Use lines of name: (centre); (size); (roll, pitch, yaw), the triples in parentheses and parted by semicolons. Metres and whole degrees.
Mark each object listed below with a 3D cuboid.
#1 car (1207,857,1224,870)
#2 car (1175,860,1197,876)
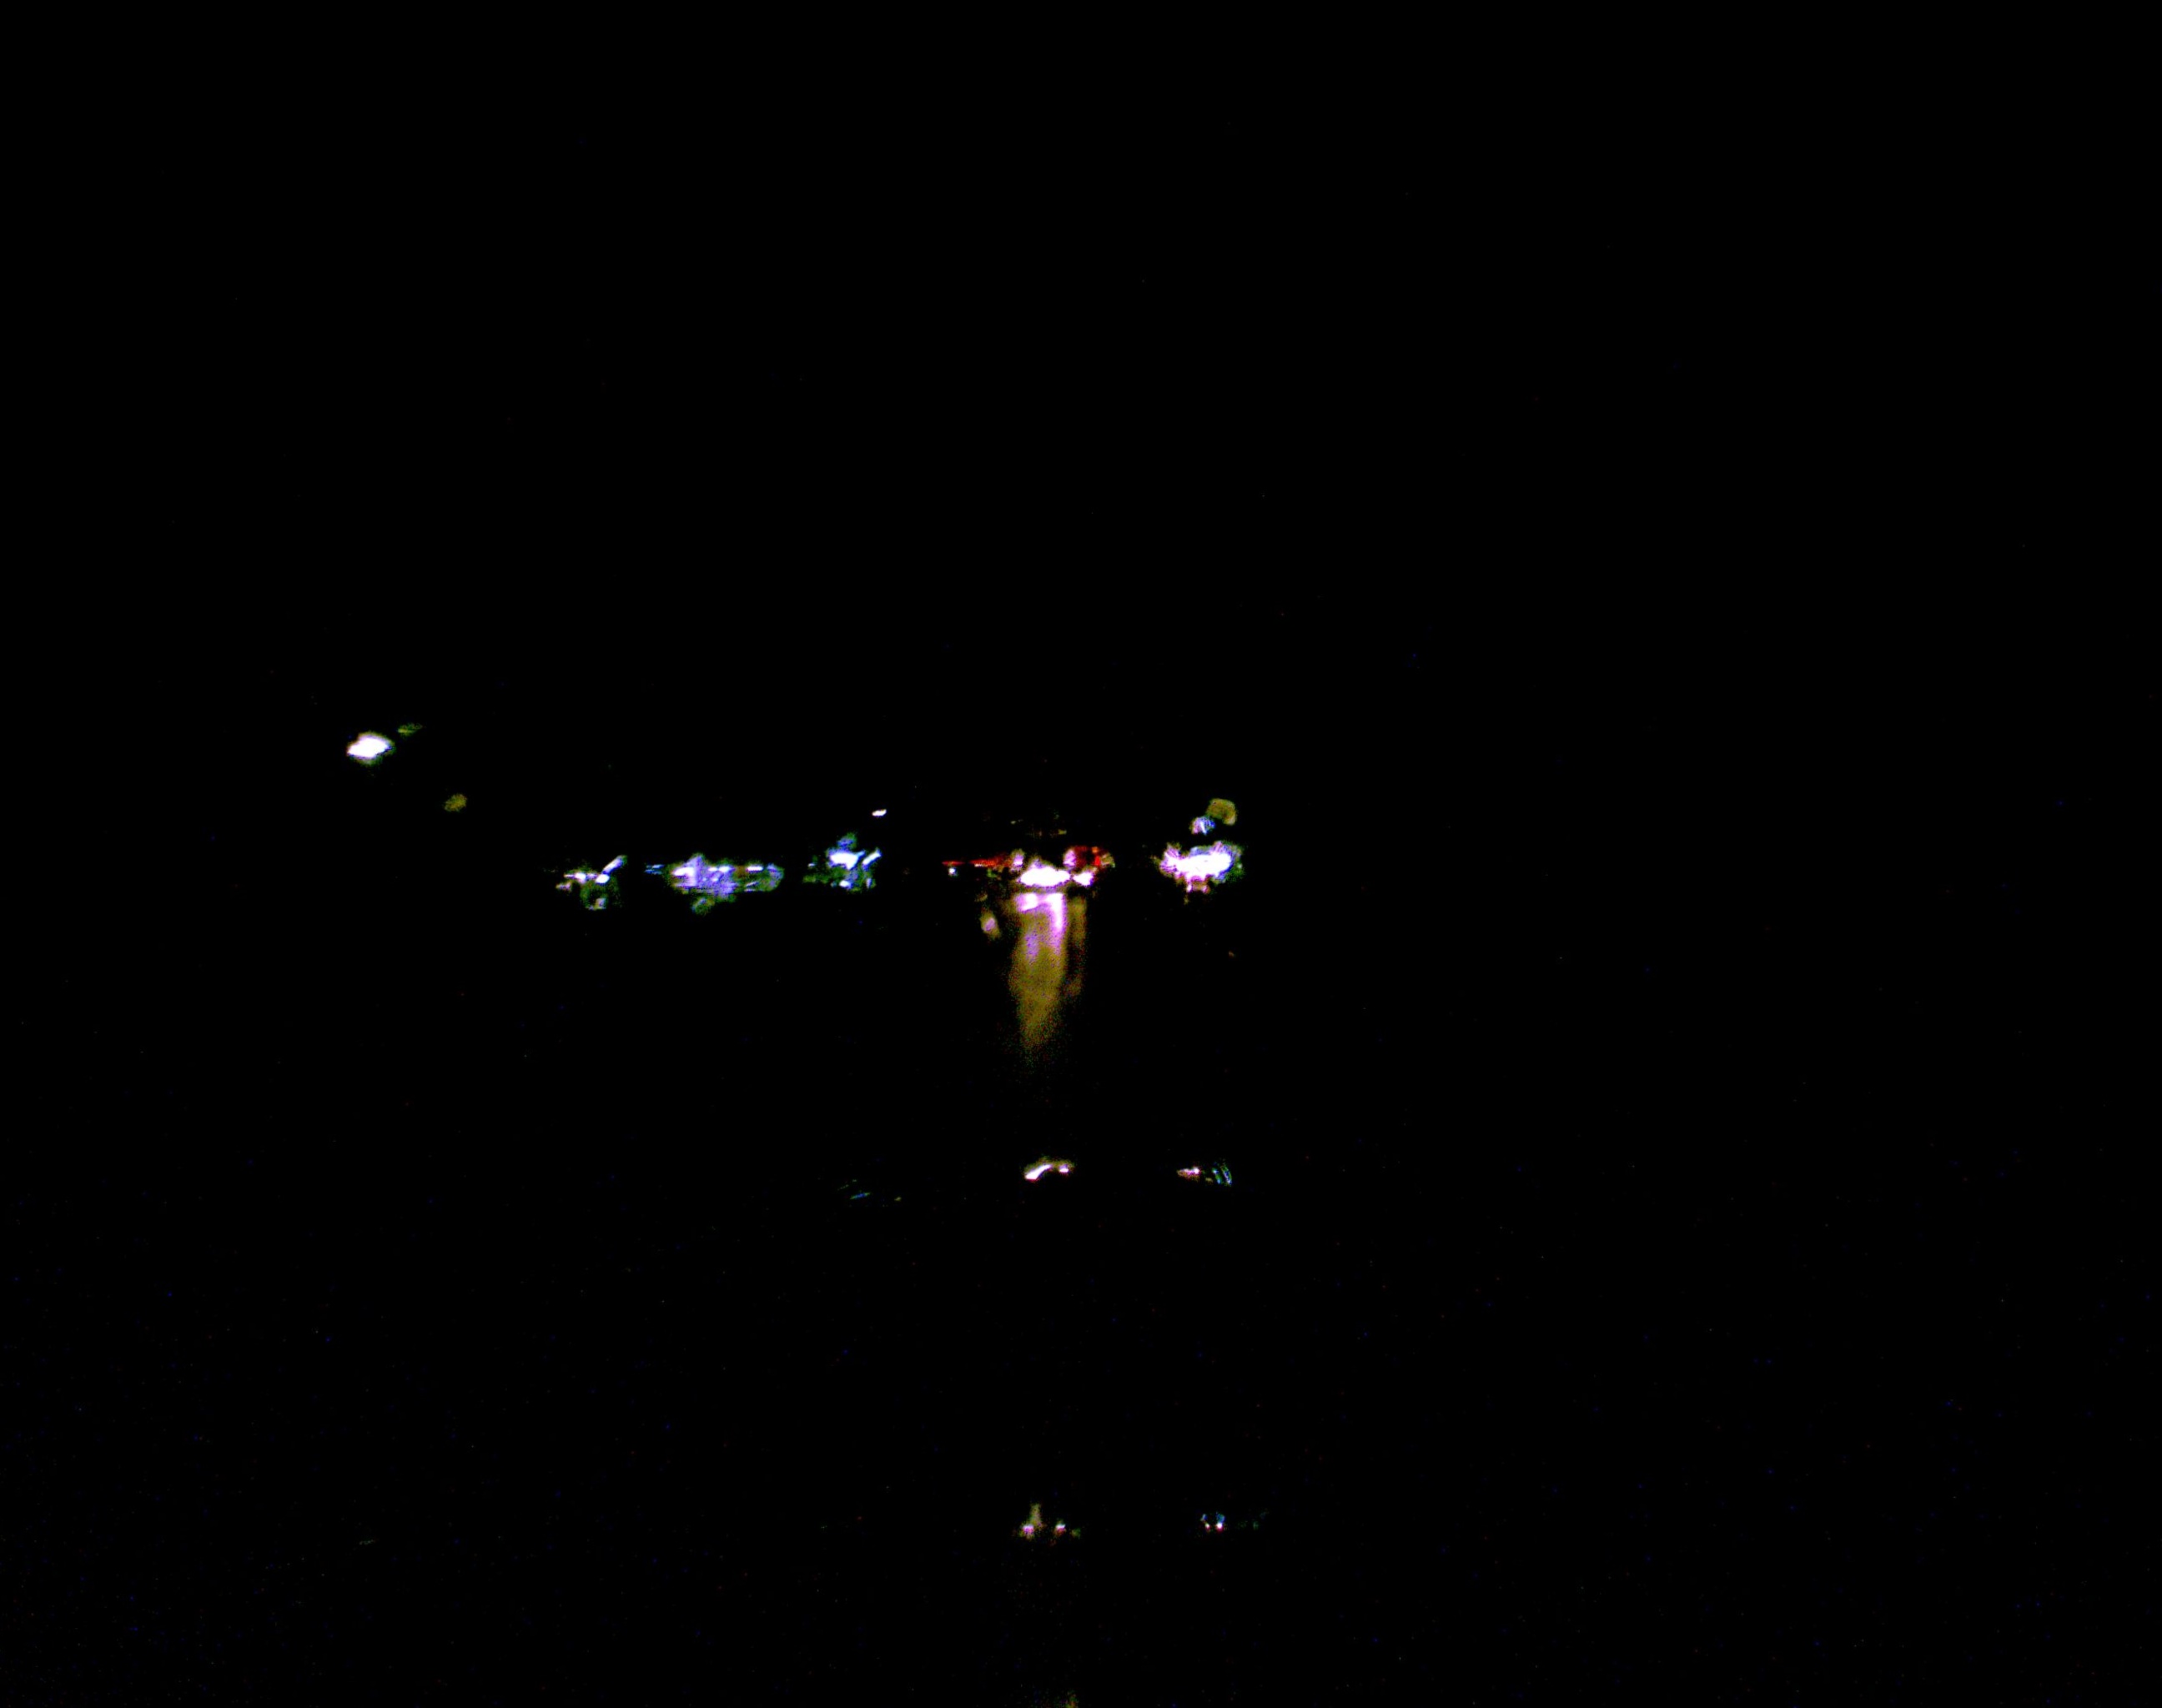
car: (17.809, 1.289, 107.766); (1.981, 1.602, 4.011); (-1, -2, 11)
car: (11.192, 1.501, 86.551); (1.981, 1.602, 4.011); (-1, -2, 11)
